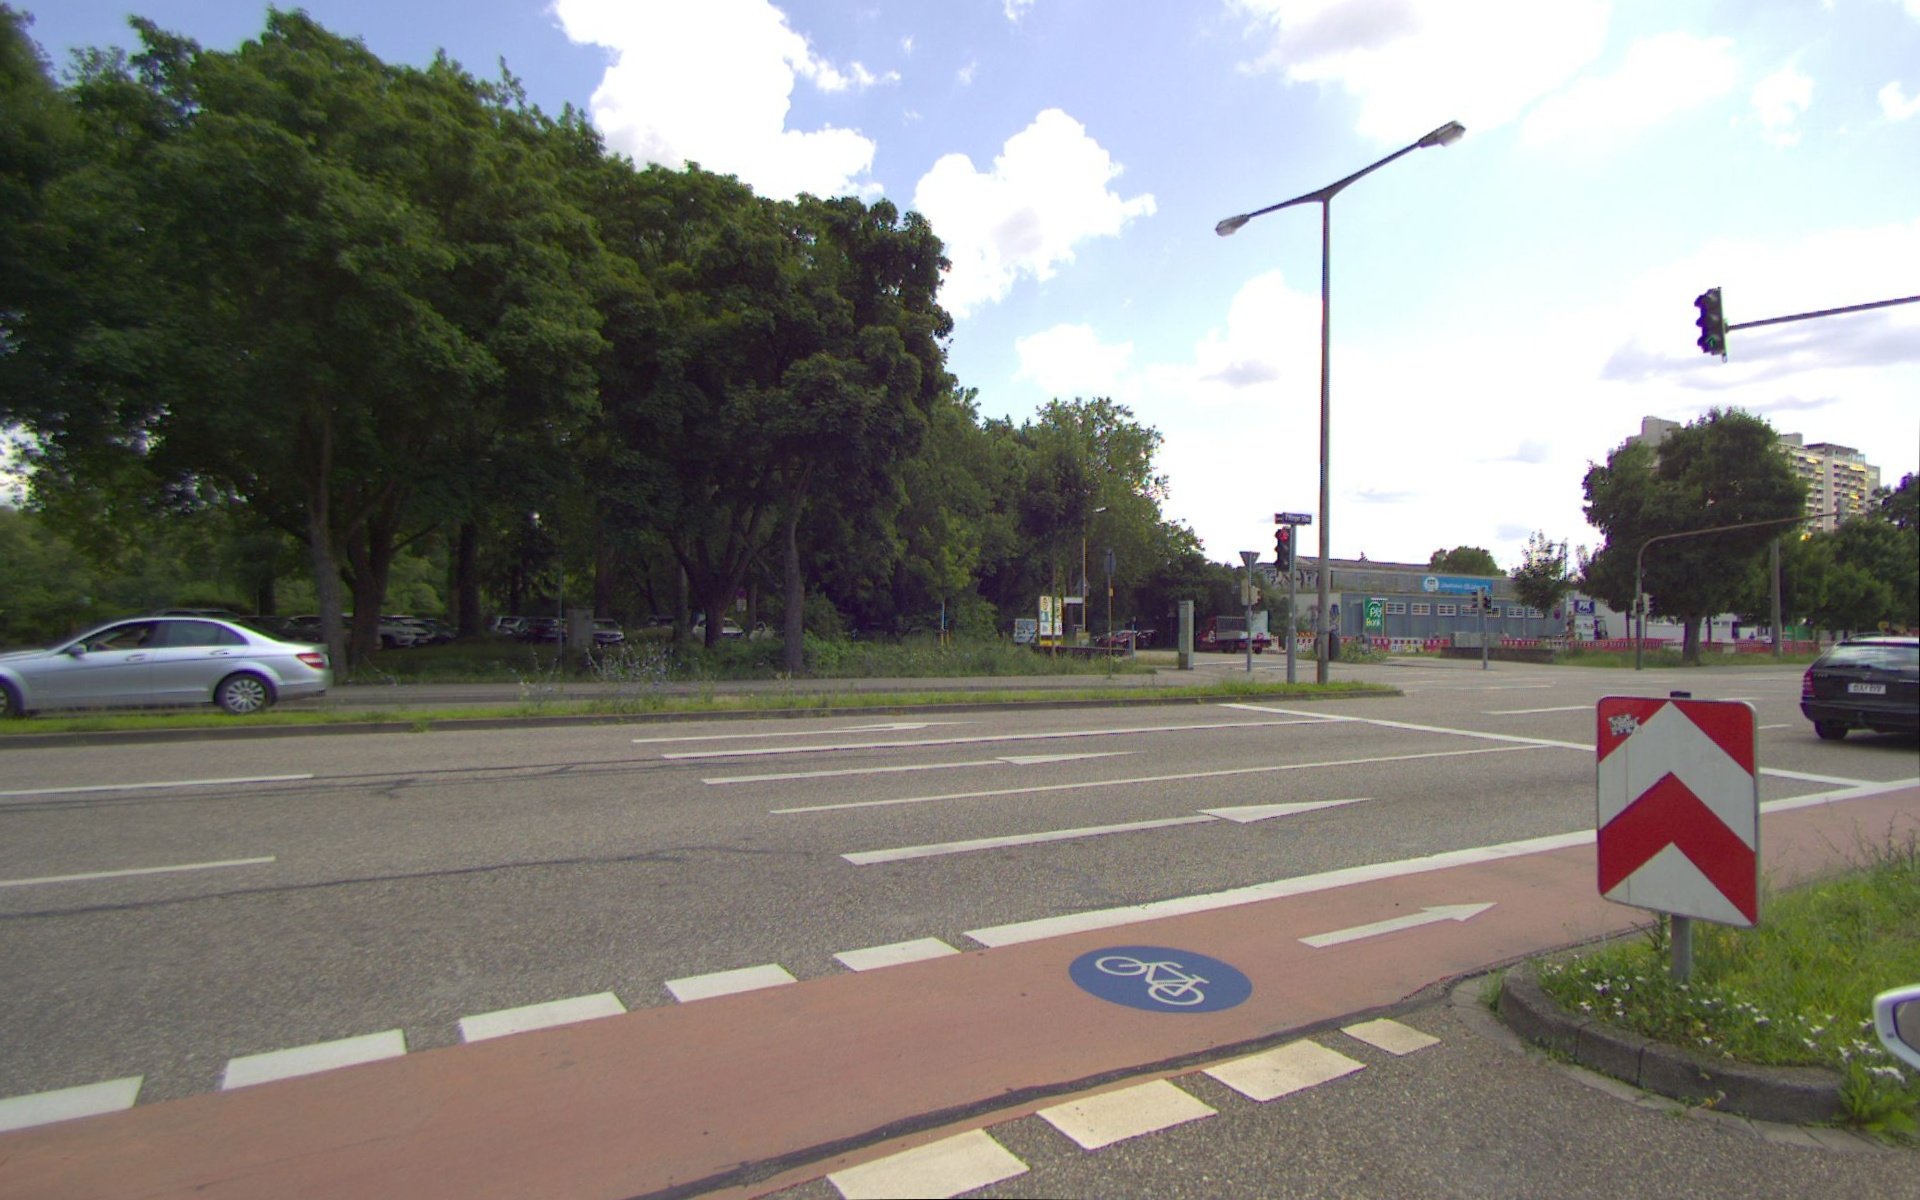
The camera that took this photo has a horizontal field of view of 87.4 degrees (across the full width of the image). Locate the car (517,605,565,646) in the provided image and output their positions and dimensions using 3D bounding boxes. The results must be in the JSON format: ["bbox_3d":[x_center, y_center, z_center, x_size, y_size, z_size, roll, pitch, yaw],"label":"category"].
[{"bbox_3d":[-18.899,1.143,45.427,1.792,1.750,4.108,1,-1,-21],"label":"car"}]

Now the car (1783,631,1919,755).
[{"bbox_3d":[13.278,1.188,13.685,4.380,1.485,1.747,1,-2,-30],"label":"car"}]

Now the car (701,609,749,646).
[{"bbox_3d":[-11.760,1.381,50.105,2.043,1.748,4.112,1,-2,-17],"label":"car"}]

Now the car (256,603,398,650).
[{"bbox_3d":[-22.799,0.965,36.263,3.941,1.608,2.001,-1,-2,7],"label":"car"}]

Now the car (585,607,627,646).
[{"bbox_3d":[-16.620,1.221,47.074,1.792,1.732,4.108,1,-1,-21],"label":"car"}]

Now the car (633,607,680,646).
[{"bbox_3d":[-14.476,1.255,47.874,2.014,1.748,4.561,1,-2,-17],"label":"car"}]

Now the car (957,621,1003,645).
[{"bbox_3d":[1.349,2.271,69.521,1.599,1.528,3.593,2,-1,-28],"label":"car"}]

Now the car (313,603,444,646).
[{"bbox_3d":[-22.381,0.950,38.737,3.941,1.565,2.001,0,-1,7],"label":"car"}]

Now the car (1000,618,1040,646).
[{"bbox_3d":[4.167,2.218,70.326,1.903,1.817,3.612,2,-1,-11],"label":"car"}]

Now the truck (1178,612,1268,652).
[{"bbox_3d":[16.924,2.064,65.155,2.986,2.471,6.973,1,-1,-11],"label":"truck"}]

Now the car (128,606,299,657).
[{"bbox_3d":[-23.123,0.974,31.202,3.941,1.503,2.001,0,-1,7],"label":"car"}]

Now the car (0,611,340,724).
[{"bbox_3d":[-11.564,0.910,14.426,4.444,1.451,1.791,1,-2,-31],"label":"car"}]

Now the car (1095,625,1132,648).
[{"bbox_3d":[12.743,2.987,83.500,1.682,1.810,3.989,1,-1,-14],"label":"car"}]
